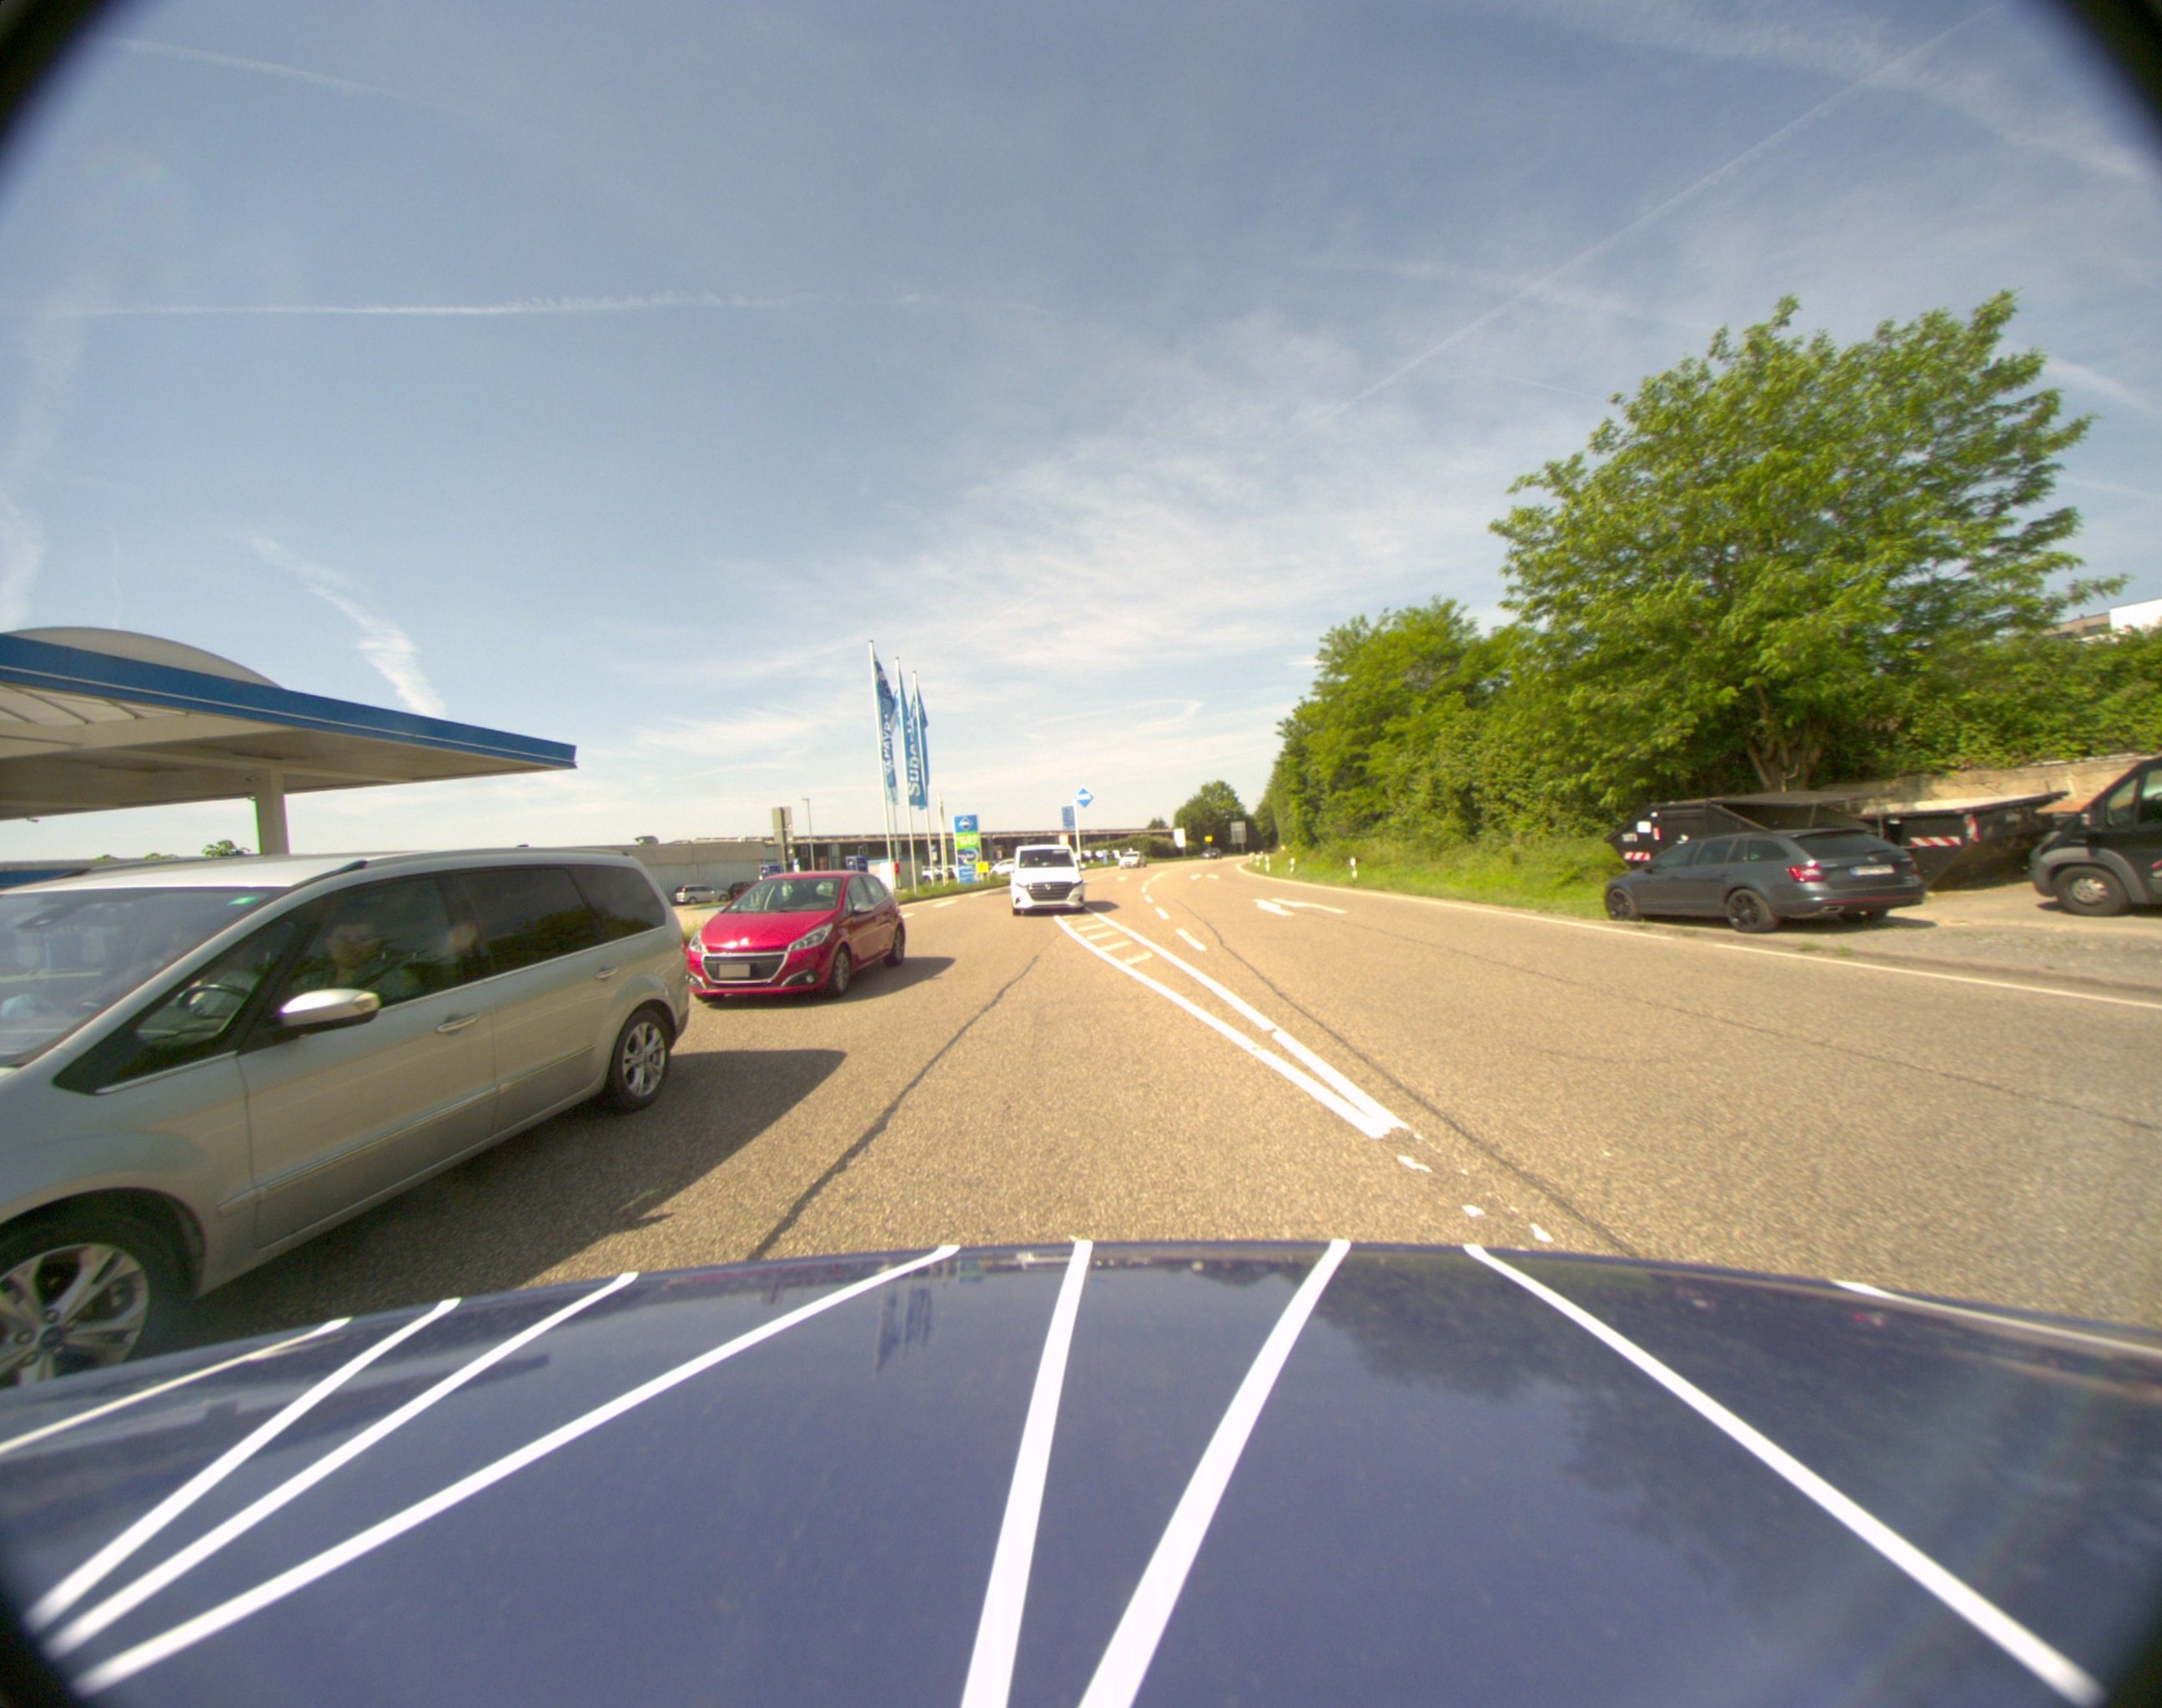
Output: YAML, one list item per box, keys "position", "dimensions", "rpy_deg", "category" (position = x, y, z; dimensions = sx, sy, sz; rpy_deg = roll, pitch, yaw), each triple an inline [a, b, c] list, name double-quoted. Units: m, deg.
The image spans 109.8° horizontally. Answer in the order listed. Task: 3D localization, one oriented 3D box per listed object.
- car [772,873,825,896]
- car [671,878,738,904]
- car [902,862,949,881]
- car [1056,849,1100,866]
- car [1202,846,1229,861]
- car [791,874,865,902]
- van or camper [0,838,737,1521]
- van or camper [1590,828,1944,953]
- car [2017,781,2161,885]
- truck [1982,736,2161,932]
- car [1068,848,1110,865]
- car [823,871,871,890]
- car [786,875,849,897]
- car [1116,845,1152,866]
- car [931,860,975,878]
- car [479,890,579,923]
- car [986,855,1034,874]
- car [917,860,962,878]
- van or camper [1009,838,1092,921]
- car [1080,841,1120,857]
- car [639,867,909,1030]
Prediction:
- position: [-23.025, 2.465, 61.894]
  dimensions: [4.011, 1.595, 1.893]
  rpy_deg: [-4, 1, 34]
  category: "car"
- position: [-28.417, 2.805, 57.511]
  dimensions: [1.885, 1.595, 4.028]
  rpy_deg: [-4, 1, 35]
  category: "car"
- position: [-15.652, 1.744, 76.319]
  dimensions: [4.454, 1.628, 1.826]
  rpy_deg: [-4, -1, 32]
  category: "car"
- position: [-0.339, 0.359, 81.486]
  dimensions: [4.248, 1.628, 1.825]
  rpy_deg: [-4, -1, 26]
  category: "car"
- position: [17.746, -0.078, 100.372]
  dimensions: [1.864, 1.632, 4.429]
  rpy_deg: [-4, 0, 32]
  category: "car"
- position: [-20.002, 2.660, 60.190]
  dimensions: [5.248, 1.820, 1.996]
  rpy_deg: [-4, 1, -25]
  category: "car"
- position: [-3.721, 0.894, 3.536]
  dimensions: [1.751, 1.777, 5.133]
  rpy_deg: [-4, 0, 1]
  category: "van or camper"
- position: [10.467, 0.461, 12.174]
  dimensions: [1.643, 1.515, 4.467]
  rpy_deg: [-4, 0, 1]
  category: "van or camper"
- position: [17.215, -0.413, 11.880]
  dimensions: [3.672, 1.502, 1.715]
  rpy_deg: [-4, 0, -12]
  category: "car"
- position: [14.004, -0.332, 6.429]
  dimensions: [2.336, 2.283, 8.803]
  rpy_deg: [-8, 0, 3]
  category: "truck"
- position: [0.920, 0.251, 85.498]
  dimensions: [4.248, 1.628, 1.825]
  rpy_deg: [-4, -1, 26]
  category: "car"
- position: [-20.656, 2.349, 67.079]
  dimensions: [4.036, 1.449, 1.826]
  rpy_deg: [-4, -1, 32]
  category: "car"
- position: [-19.424, 2.344, 56.056]
  dimensions: [4.131, 1.245, 1.695]
  rpy_deg: [-4, 1, -30]
  category: "car"
- position: [4.817, 0.126, 68.078]
  dimensions: [1.865, 1.632, 4.427]
  rpy_deg: [-4, 0, 21]
  category: "car"
- position: [-13.433, 1.570, 79.730]
  dimensions: [4.454, 1.628, 1.826]
  rpy_deg: [-4, -1, 32]
  category: "car"
- position: [-34.113, 3.214, 47.093]
  dimensions: [1.886, 1.595, 4.537]
  rpy_deg: [-4, 0, 28]
  category: "car"
- position: [-6.967, 1.007, 74.196]
  dimensions: [4.248, 1.628, 1.825]
  rpy_deg: [-4, -1, 26]
  category: "car"
- position: [-14.540, 1.566, 78.049]
  dimensions: [4.454, 1.628, 1.826]
  rpy_deg: [-4, -1, 32]
  category: "car"
- position: [-0.995, 0.631, 21.878]
  dimensions: [1.999, 2.002, 5.287]
  rpy_deg: [-3, 0, -5]
  category: "van or camper"
- position: [2.236, -0.600, 88.609]
  dimensions: [4.248, 1.628, 1.825]
  rpy_deg: [-4, -1, 26]
  category: "car"
- position: [-3.631, 1.022, 9.798]
  dimensions: [1.805, 1.563, 3.714]
  rpy_deg: [-2, 0, 2]
  category: "car"
